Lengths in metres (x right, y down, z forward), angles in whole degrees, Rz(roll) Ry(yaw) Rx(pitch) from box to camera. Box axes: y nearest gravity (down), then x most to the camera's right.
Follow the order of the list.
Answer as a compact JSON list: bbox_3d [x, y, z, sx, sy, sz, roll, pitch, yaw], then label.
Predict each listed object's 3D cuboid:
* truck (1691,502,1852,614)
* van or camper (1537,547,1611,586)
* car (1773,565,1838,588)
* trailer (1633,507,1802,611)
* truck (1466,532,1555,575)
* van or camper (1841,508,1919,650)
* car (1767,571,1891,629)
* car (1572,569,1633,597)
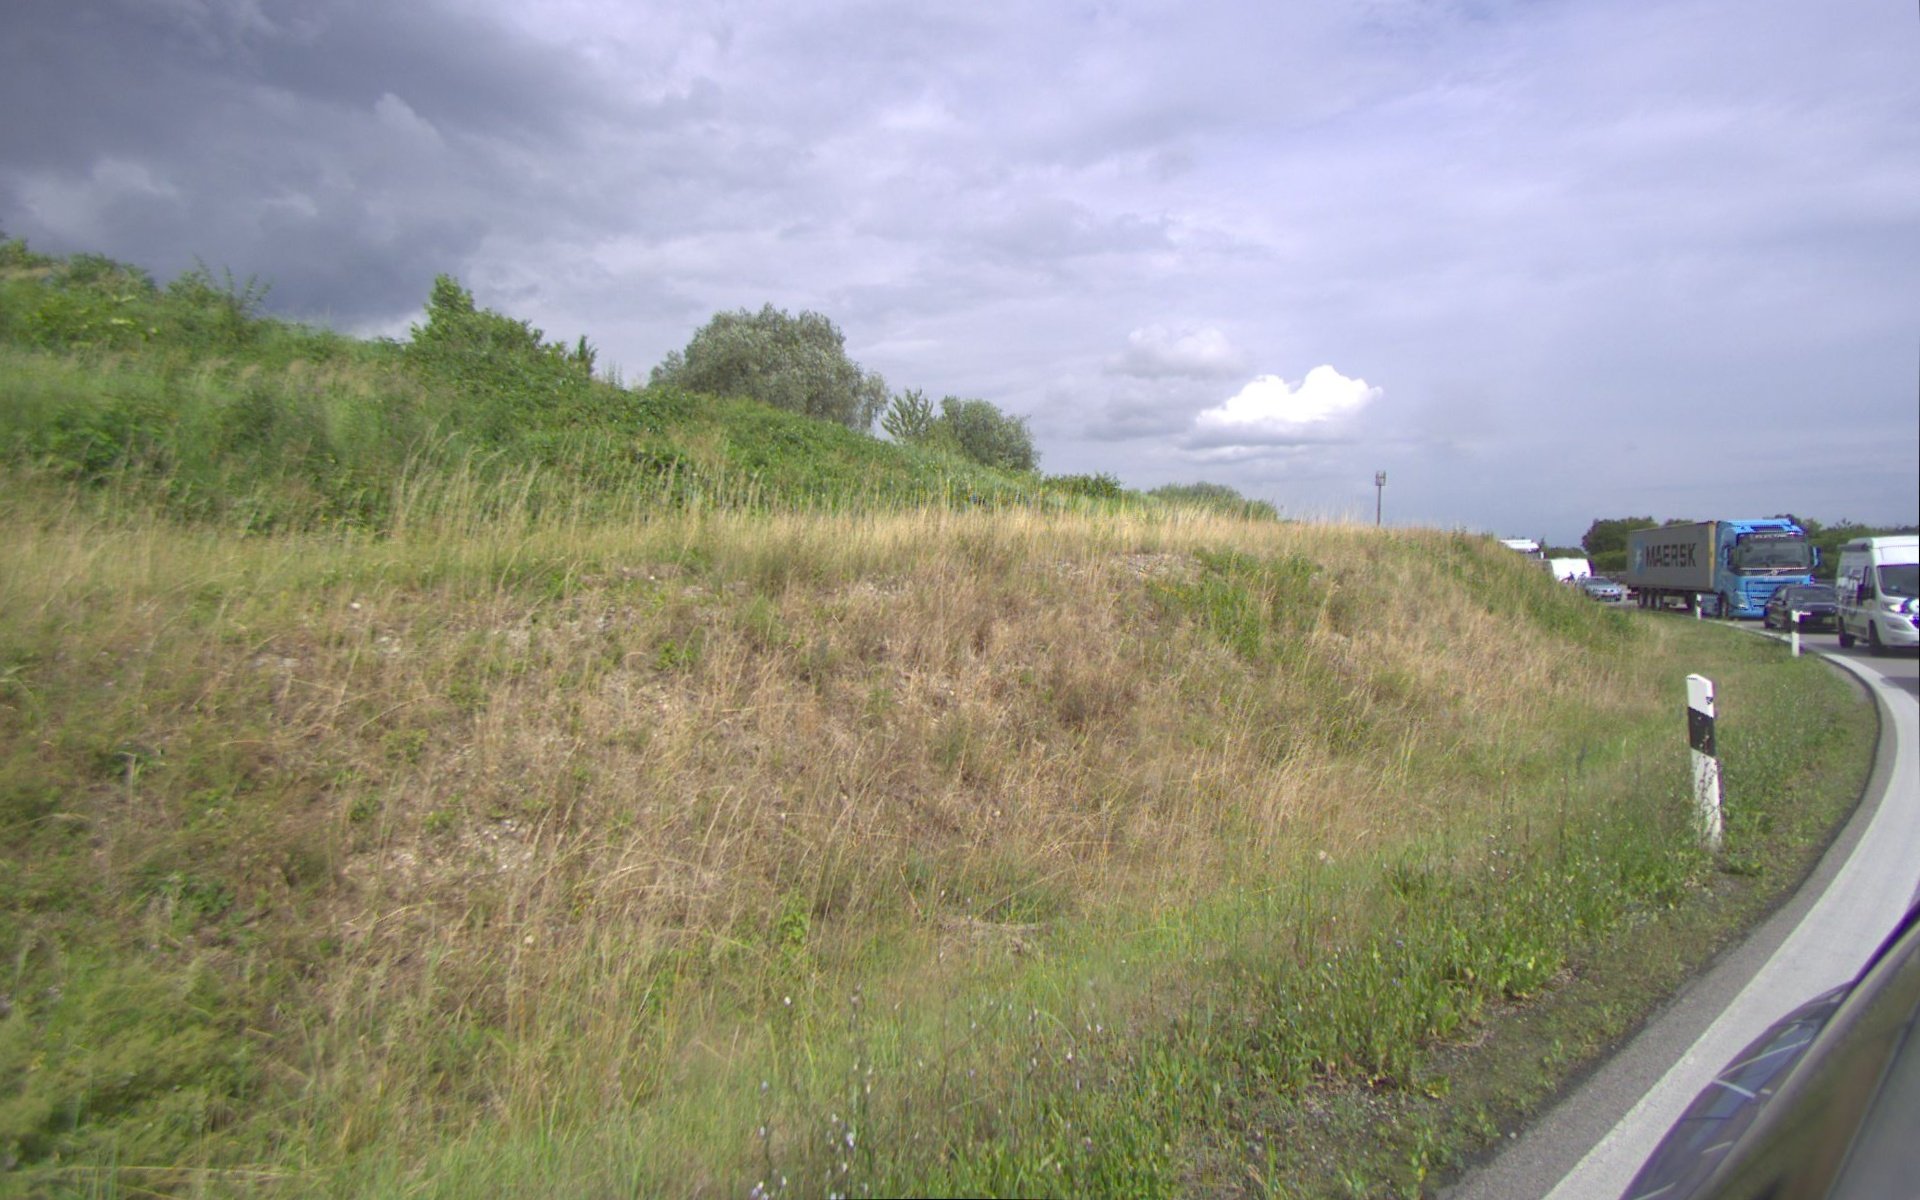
[{"bbox_3d":[32.381,-1.582,40.743,3.142,4.124,6.600,0,1,21],"label":"truck"},{"bbox_3d":[40.066,-2.226,66.231,2.516,2.237,5.690,-1,4,14],"label":"van or camper"},{"bbox_3d":[64.772,-1.839,77.609,1.967,1.704,3.991,1,2,9],"label":"car"},{"bbox_3d":[34.823,-1.745,47.203,3.237,4.213,11.931,0,1,21],"label":"trailer"},{"bbox_3d":[44.180,-3.662,81.635,3.076,3.279,11.125,0,2,11],"label":"truck"},{"bbox_3d":[22.099,-0.478,22.994,2.382,2.945,5.652,0,1,33],"label":"van or camper"},{"bbox_3d":[27.008,-0.071,31.610,1.980,1.638,3.965,1,2,26],"label":"car"},{"bbox_3d":[38.278,-1.056,60.381,1.972,1.548,3.981,0,3,16],"label":"car"}]
